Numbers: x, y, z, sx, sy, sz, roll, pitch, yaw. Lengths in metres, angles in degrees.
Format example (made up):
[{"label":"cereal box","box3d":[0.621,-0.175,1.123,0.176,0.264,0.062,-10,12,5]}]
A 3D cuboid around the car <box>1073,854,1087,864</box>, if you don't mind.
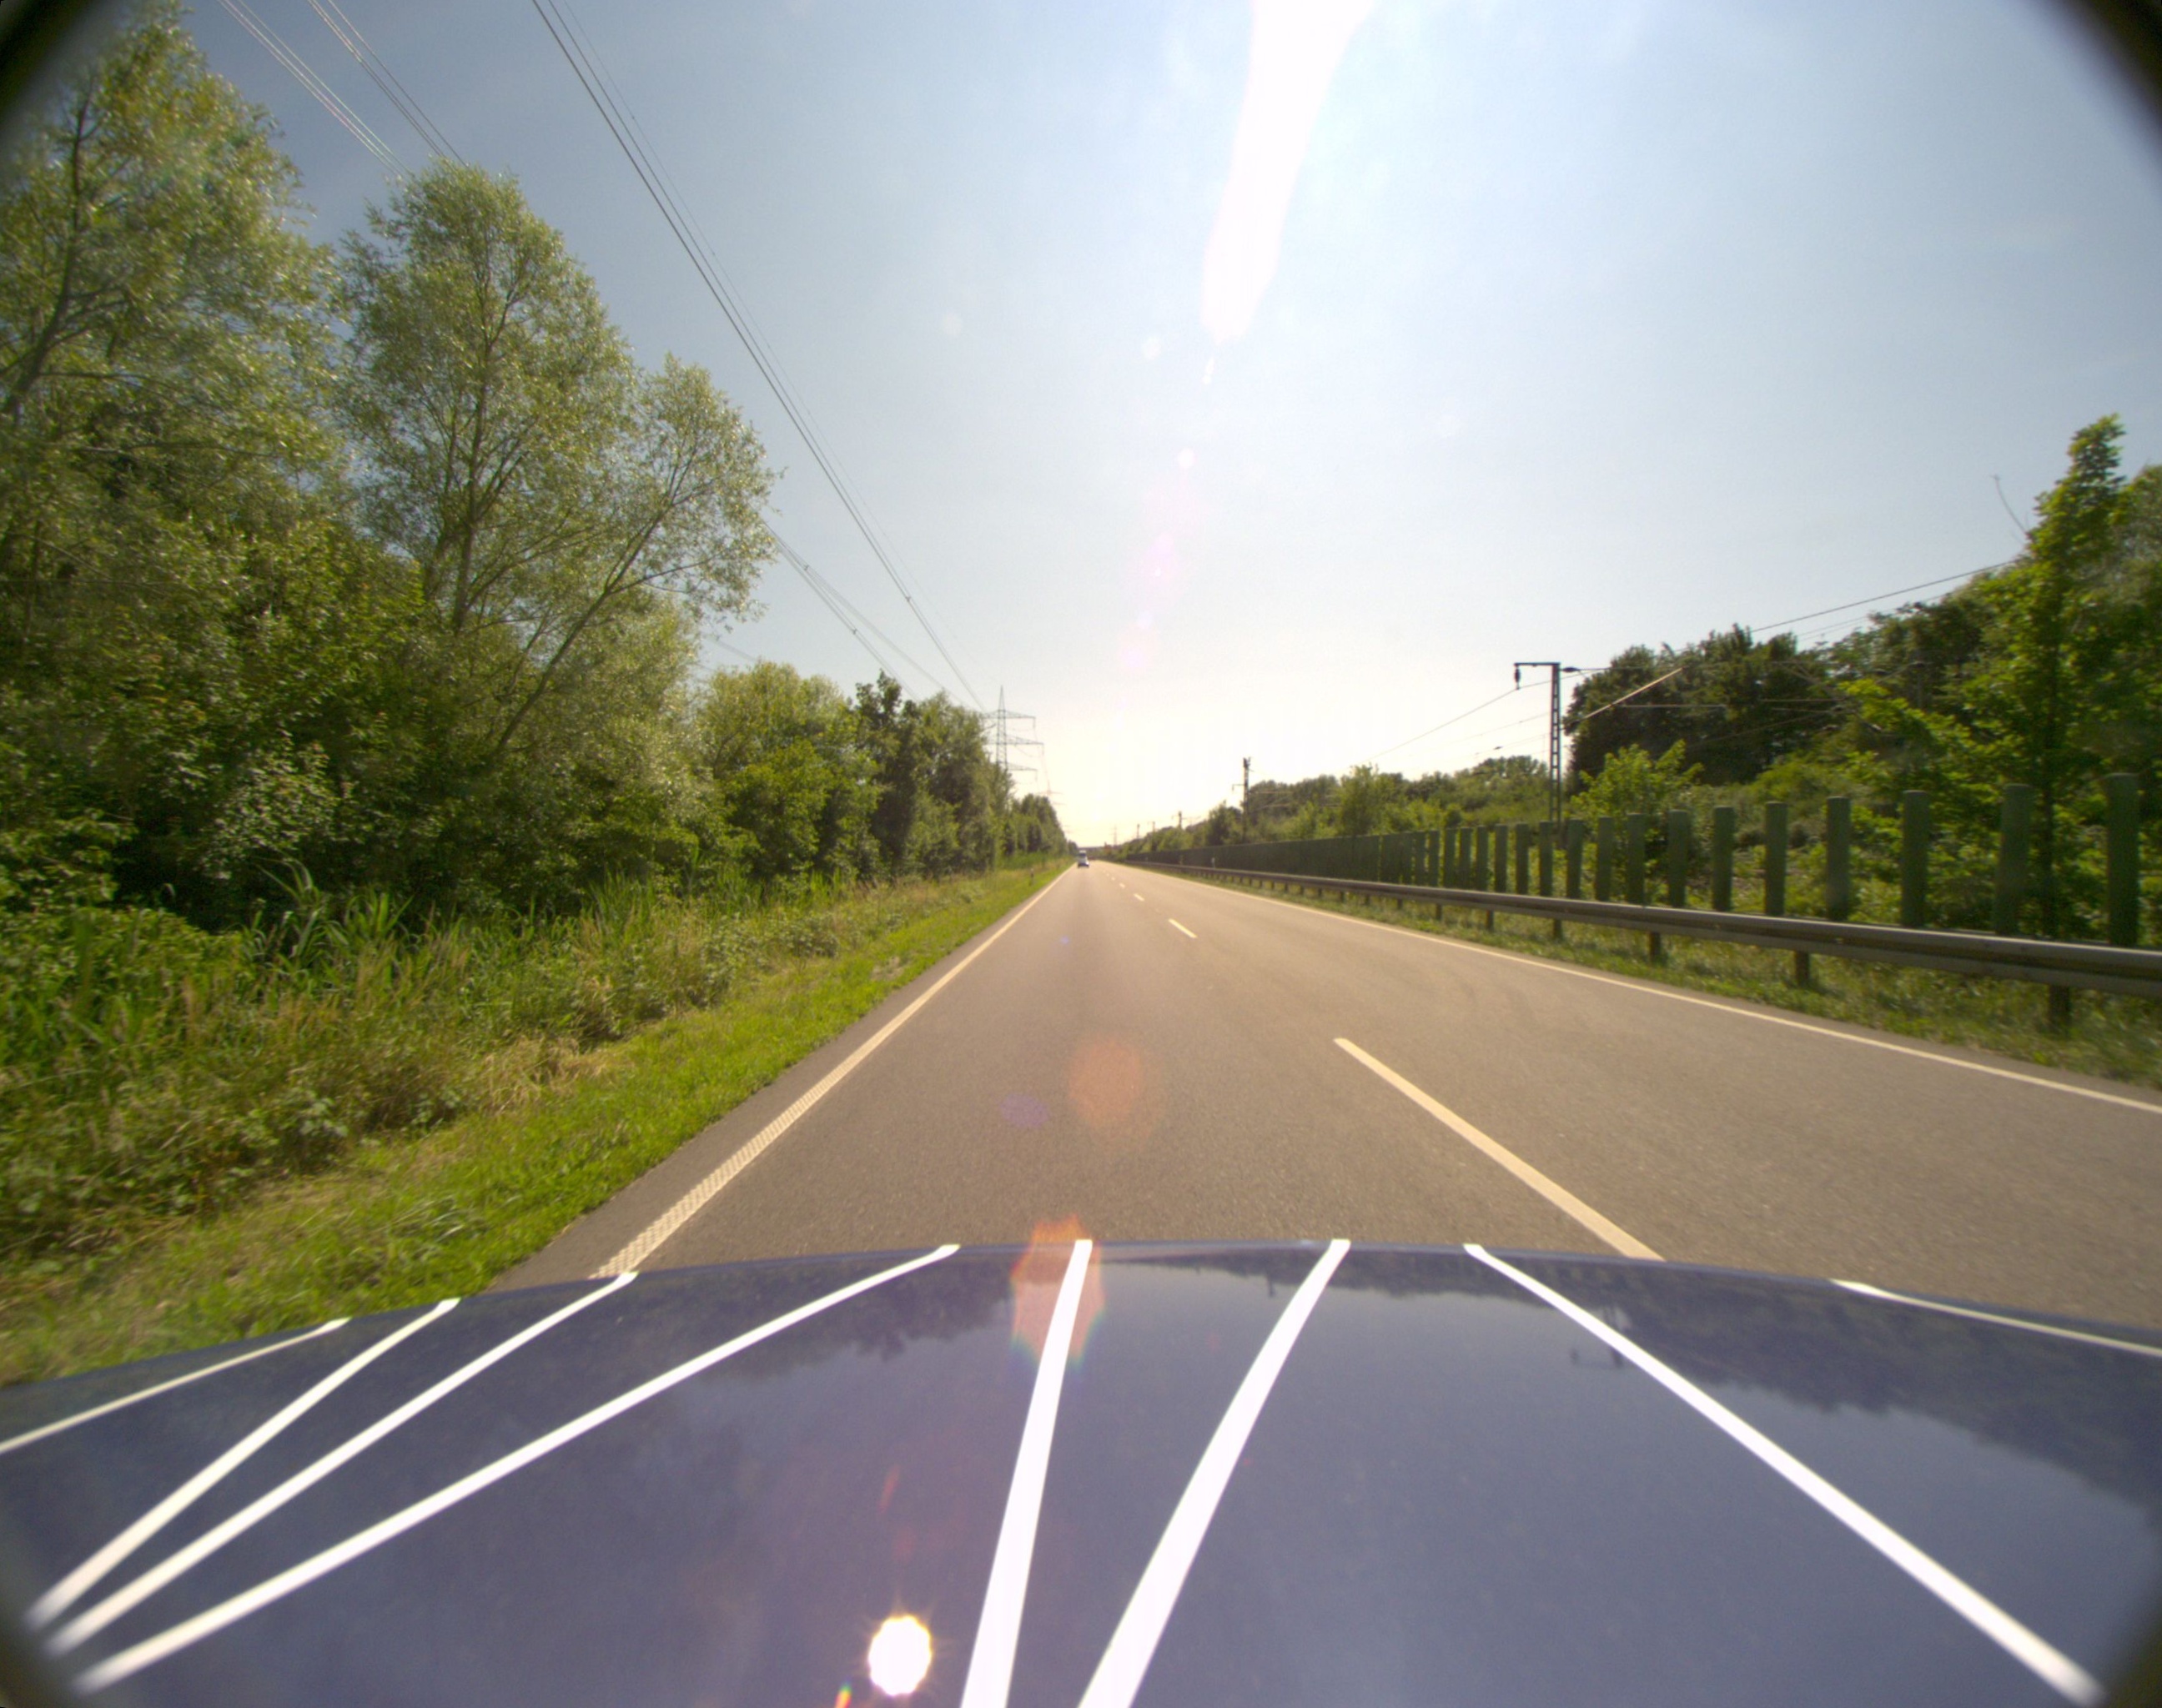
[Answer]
[{"label":"car","box3d":[-0.123,0.711,110.873,1.999,1.346,4.157,-2,0,-1]}]
